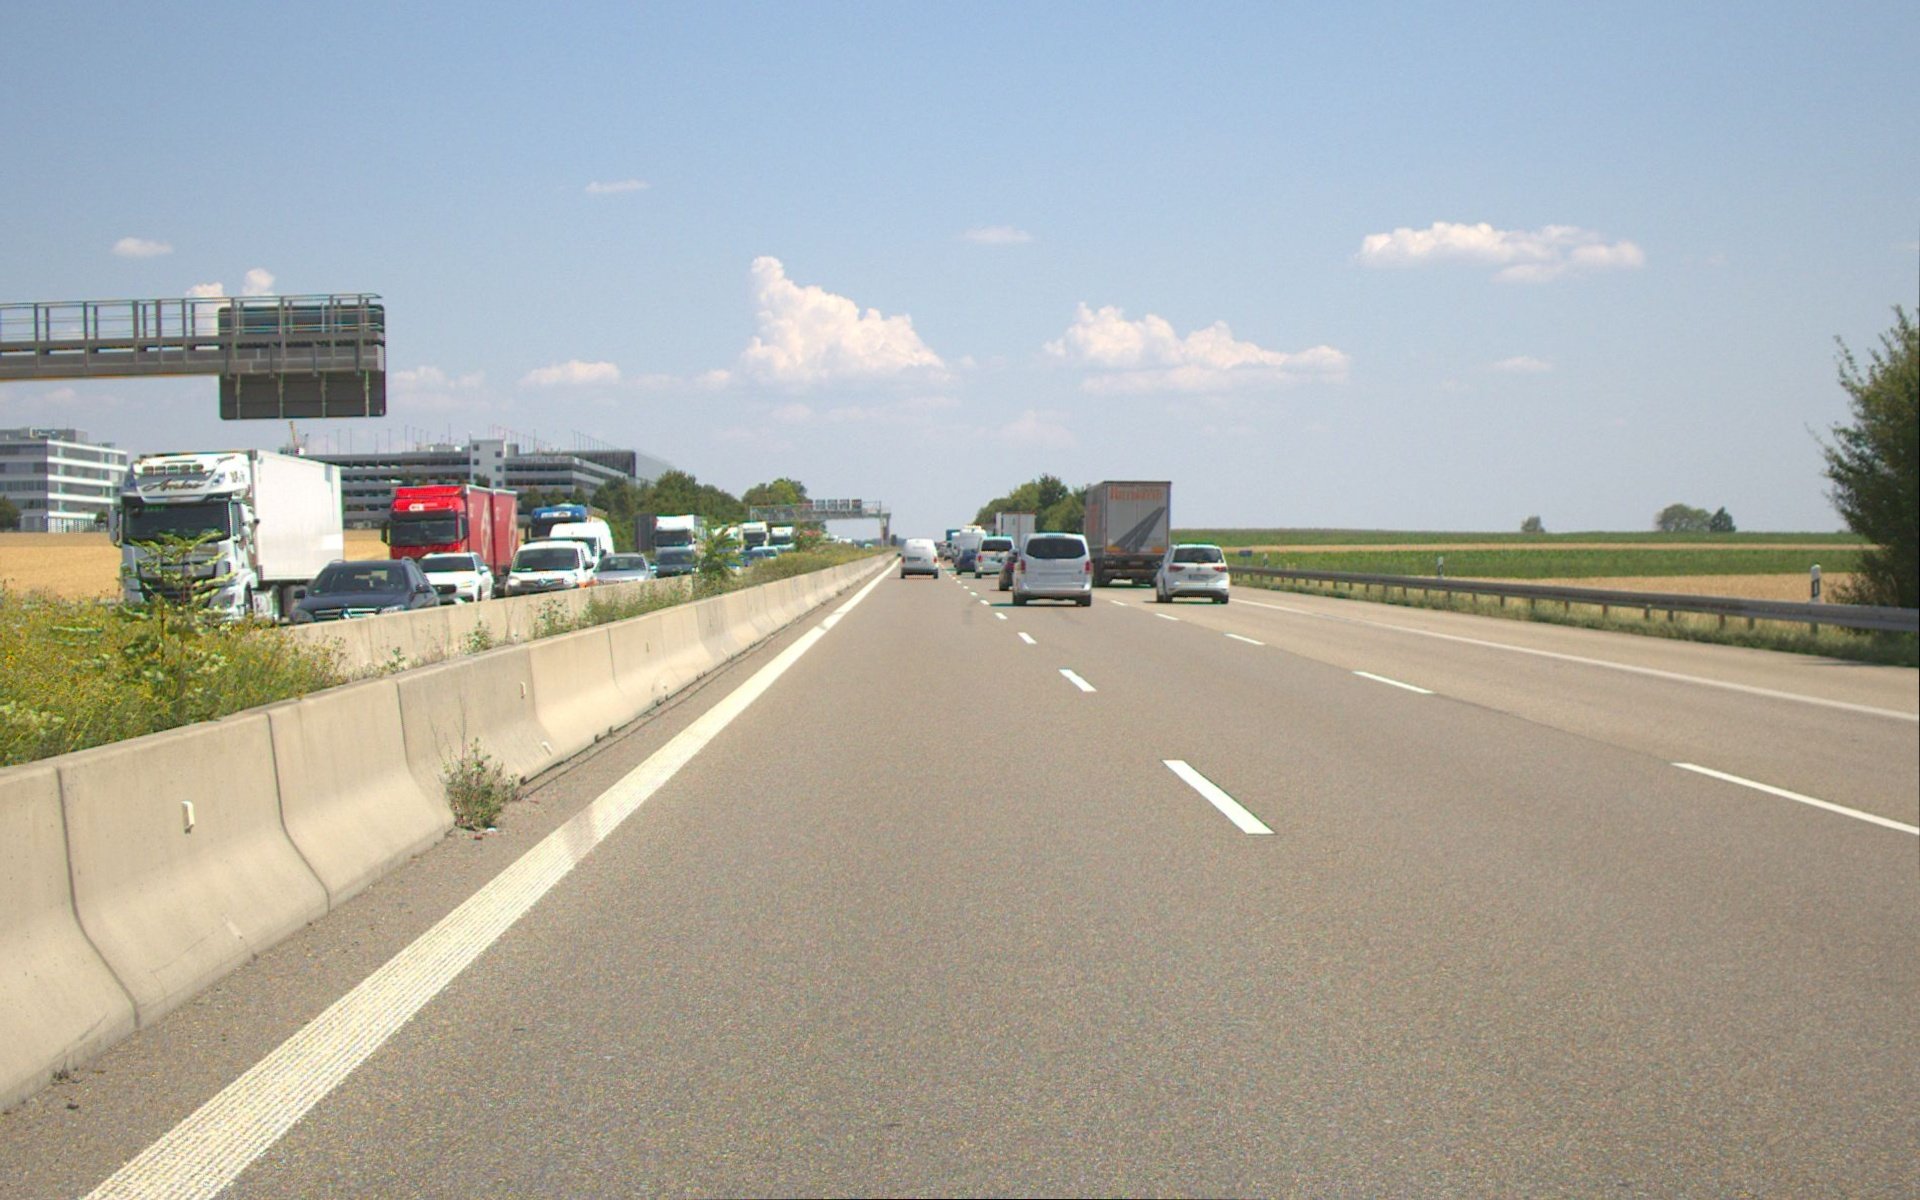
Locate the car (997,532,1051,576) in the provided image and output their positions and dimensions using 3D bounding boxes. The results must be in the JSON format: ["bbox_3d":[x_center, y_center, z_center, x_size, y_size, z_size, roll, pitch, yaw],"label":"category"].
[{"bbox_3d":[2.203,-1.579,119.130,1.773,1.442,4.000,0,0,-1],"label":"car"}]

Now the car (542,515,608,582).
[{"bbox_3d":[-13.770,-1.856,123.176,1.859,2.328,5.708,0,1,-2],"label":"car"}]

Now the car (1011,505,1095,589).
[{"bbox_3d":[2.364,-1.334,88.293,1.993,2.112,4.000,0,0,-1],"label":"car"}]

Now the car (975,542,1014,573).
[{"bbox_3d":[1.644,-2.041,164.507,1.773,1.442,4.000,0,0,-1],"label":"car"}]

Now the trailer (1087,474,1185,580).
[{"bbox_3d":[6.825,-2.783,134.531,3.277,3.953,9.113,0,0,-1],"label":"trailer"}]

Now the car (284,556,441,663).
[{"bbox_3d":[-8.827,0.102,51.081,1.673,1.482,4.398,0,1,-2],"label":"car"}]

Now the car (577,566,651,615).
[{"bbox_3d":[-9.836,-0.281,97.904,1.816,1.345,3.774,0,1,-2],"label":"car"}]

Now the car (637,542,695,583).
[{"bbox_3d":[-9.901,-1.273,115.805,1.718,1.345,3.774,0,1,-2],"label":"car"}]

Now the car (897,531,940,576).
[{"bbox_3d":[-1.936,-2.159,160.071,1.993,2.007,4.000,0,0,-1],"label":"car"}]

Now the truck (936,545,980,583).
[{"bbox_3d":[-0.123,-1.948,185.052,2.211,2.007,4.972,-1,1,-1],"label":"truck"}]

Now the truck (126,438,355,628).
[{"bbox_3d":[-17.198,-1.621,83.252,2.950,4.144,12.868,-2,1,-1],"label":"truck"}]

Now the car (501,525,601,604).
[{"bbox_3d":[-9.402,-0.839,79.363,1.816,1.747,4.994,0,1,-2],"label":"car"}]

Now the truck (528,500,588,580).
[{"bbox_3d":[-18.354,-2.748,157.276,2.109,3.588,7.122,0,1,-2],"label":"truck"}]

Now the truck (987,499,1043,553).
[{"bbox_3d":[4.099,-5.497,257.644,3.815,3.891,9.581,-1,1,-1],"label":"truck"}]

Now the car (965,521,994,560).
[{"bbox_3d":[1.227,-3.748,218.248,1.773,2.384,4.000,0,0,-1],"label":"car"}]

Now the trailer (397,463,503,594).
[{"bbox_3d":[-18.502,-2.603,125.112,2.776,4.582,8.603,0,1,-2],"label":"trailer"}]

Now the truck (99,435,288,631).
[{"bbox_3d":[-17.078,-1.504,76.963,2.950,4.144,5.472,-2,1,-1],"label":"truck"}]

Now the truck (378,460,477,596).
[{"bbox_3d":[-18.321,-2.479,118.513,2.776,4.582,4.724,0,1,-2],"label":"truck"}]

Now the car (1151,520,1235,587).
[{"bbox_3d":[6.411,-1.272,95.004,1.993,1.788,4.000,0,0,-1],"label":"car"}]
